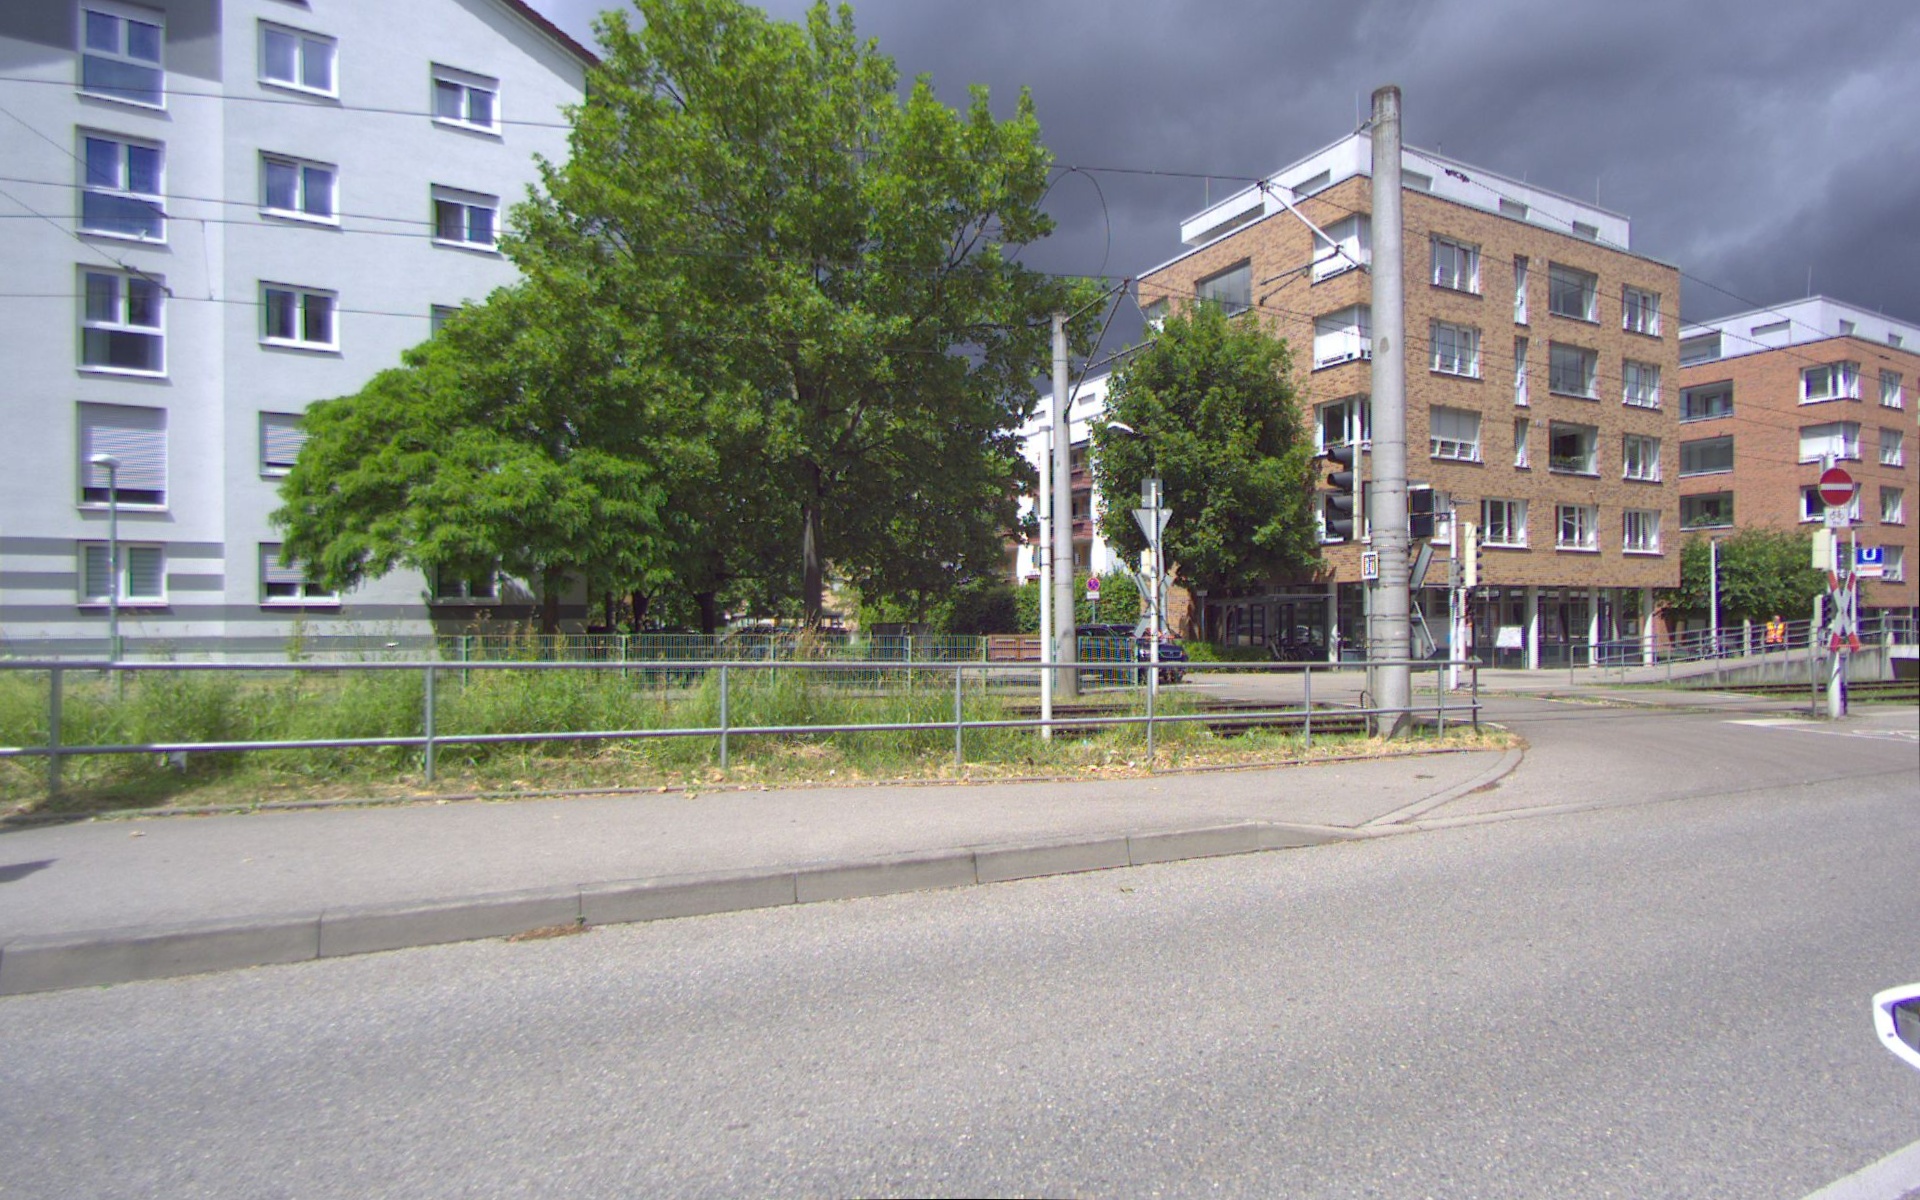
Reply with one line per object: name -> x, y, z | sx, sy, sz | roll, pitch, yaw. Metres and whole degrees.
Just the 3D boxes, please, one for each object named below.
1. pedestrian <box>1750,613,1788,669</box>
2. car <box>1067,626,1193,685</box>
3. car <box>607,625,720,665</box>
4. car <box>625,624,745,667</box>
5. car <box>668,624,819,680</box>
pedestrian -> 27.168, 1.379, 33.727 | 0.819, 1.849, 0.740 | 1, -1, -29
car -> 4.563, 1.526, 27.485 | 1.567, 1.495, 3.662 | 1, -4, -25
car -> -12.110, 1.848, 41.112 | 4.072, 1.576, 1.842 | 2, -2, -36
car -> -10.612, 1.761, 38.841 | 4.072, 1.576, 1.842 | 2, -2, -36
car -> -6.528, 1.553, 30.481 | 4.072, 1.576, 1.842 | 2, -2, -36
